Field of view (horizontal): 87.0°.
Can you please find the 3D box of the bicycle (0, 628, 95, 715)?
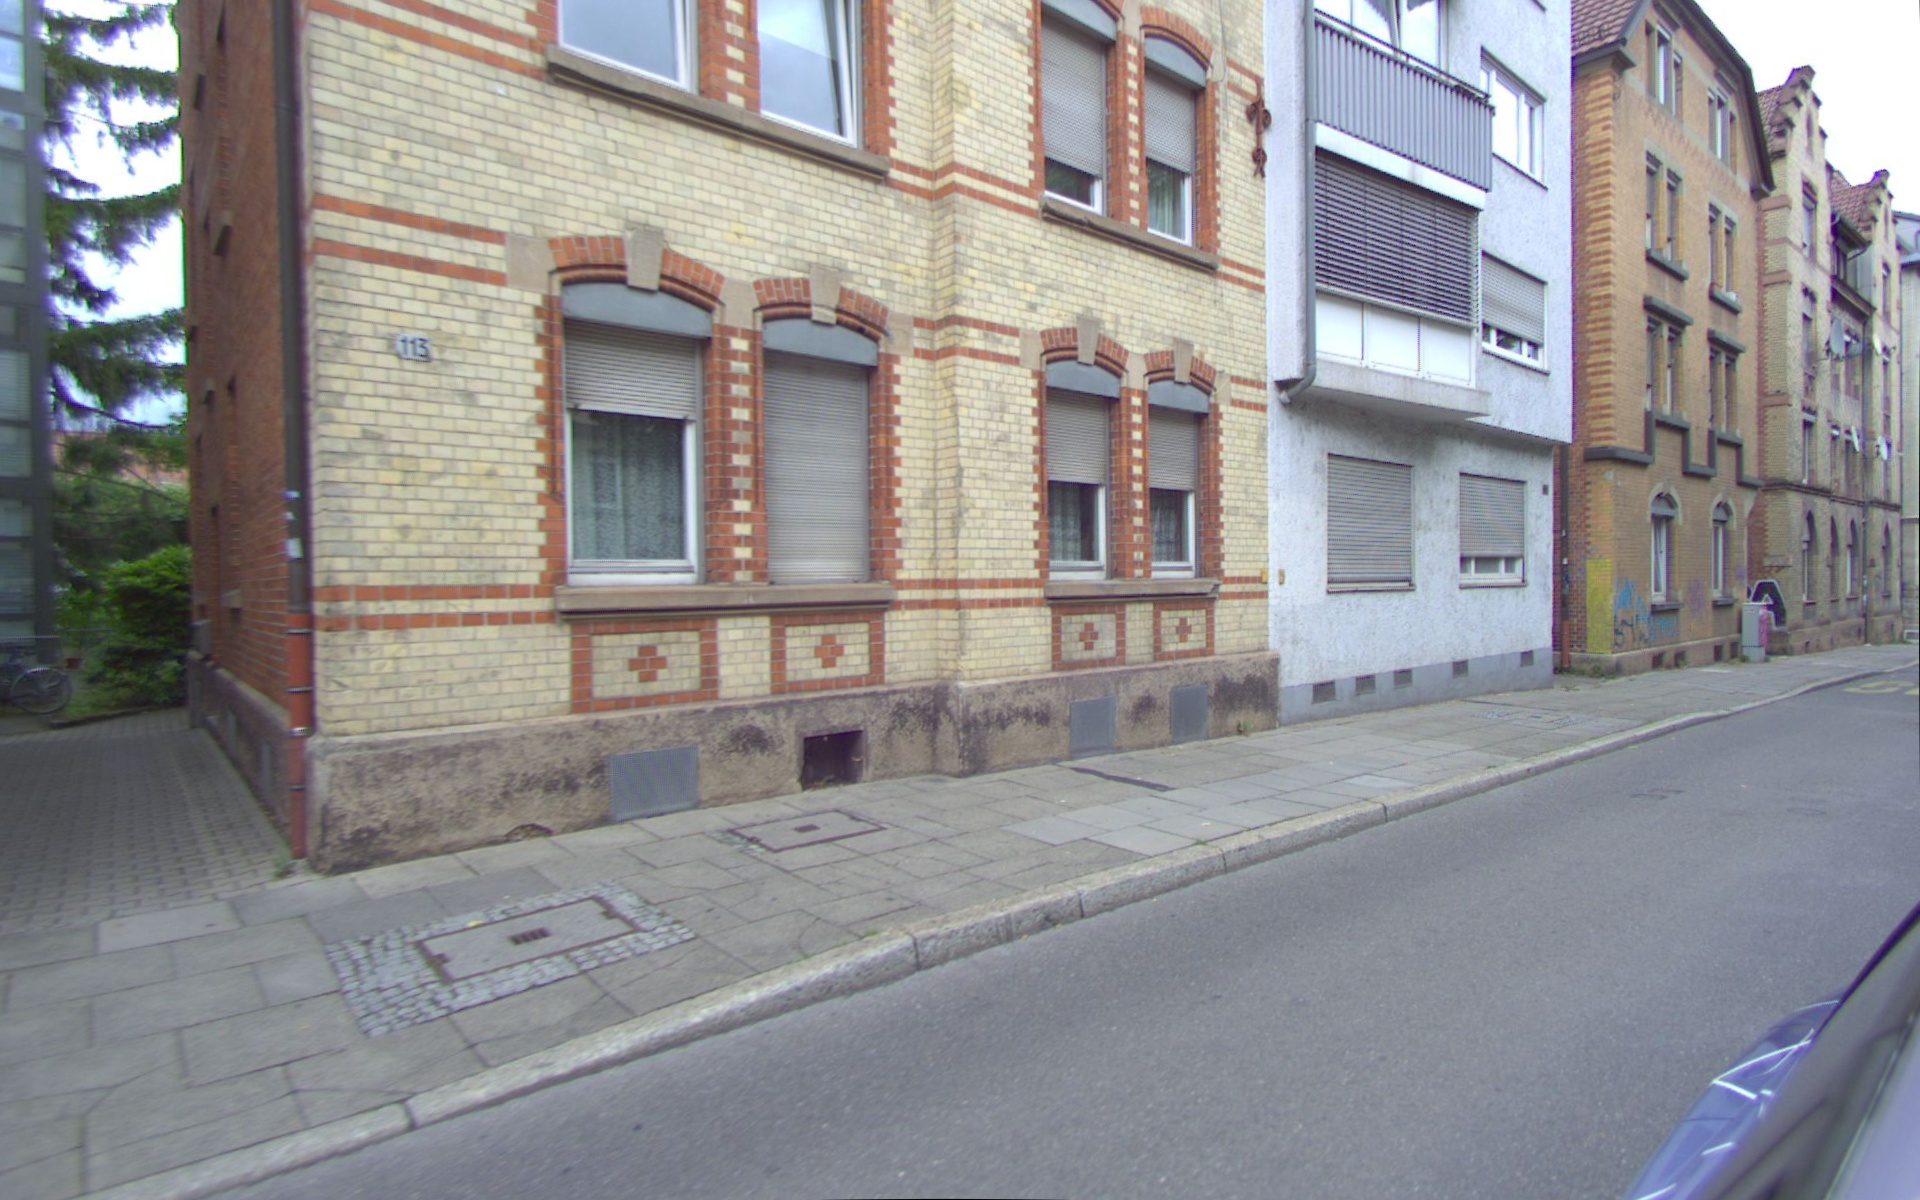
[{"bbox_3d":[-14.698,1.093,15.507,2.176,1.275,0.669,0,0,-41],"label":"bicycle"}]
